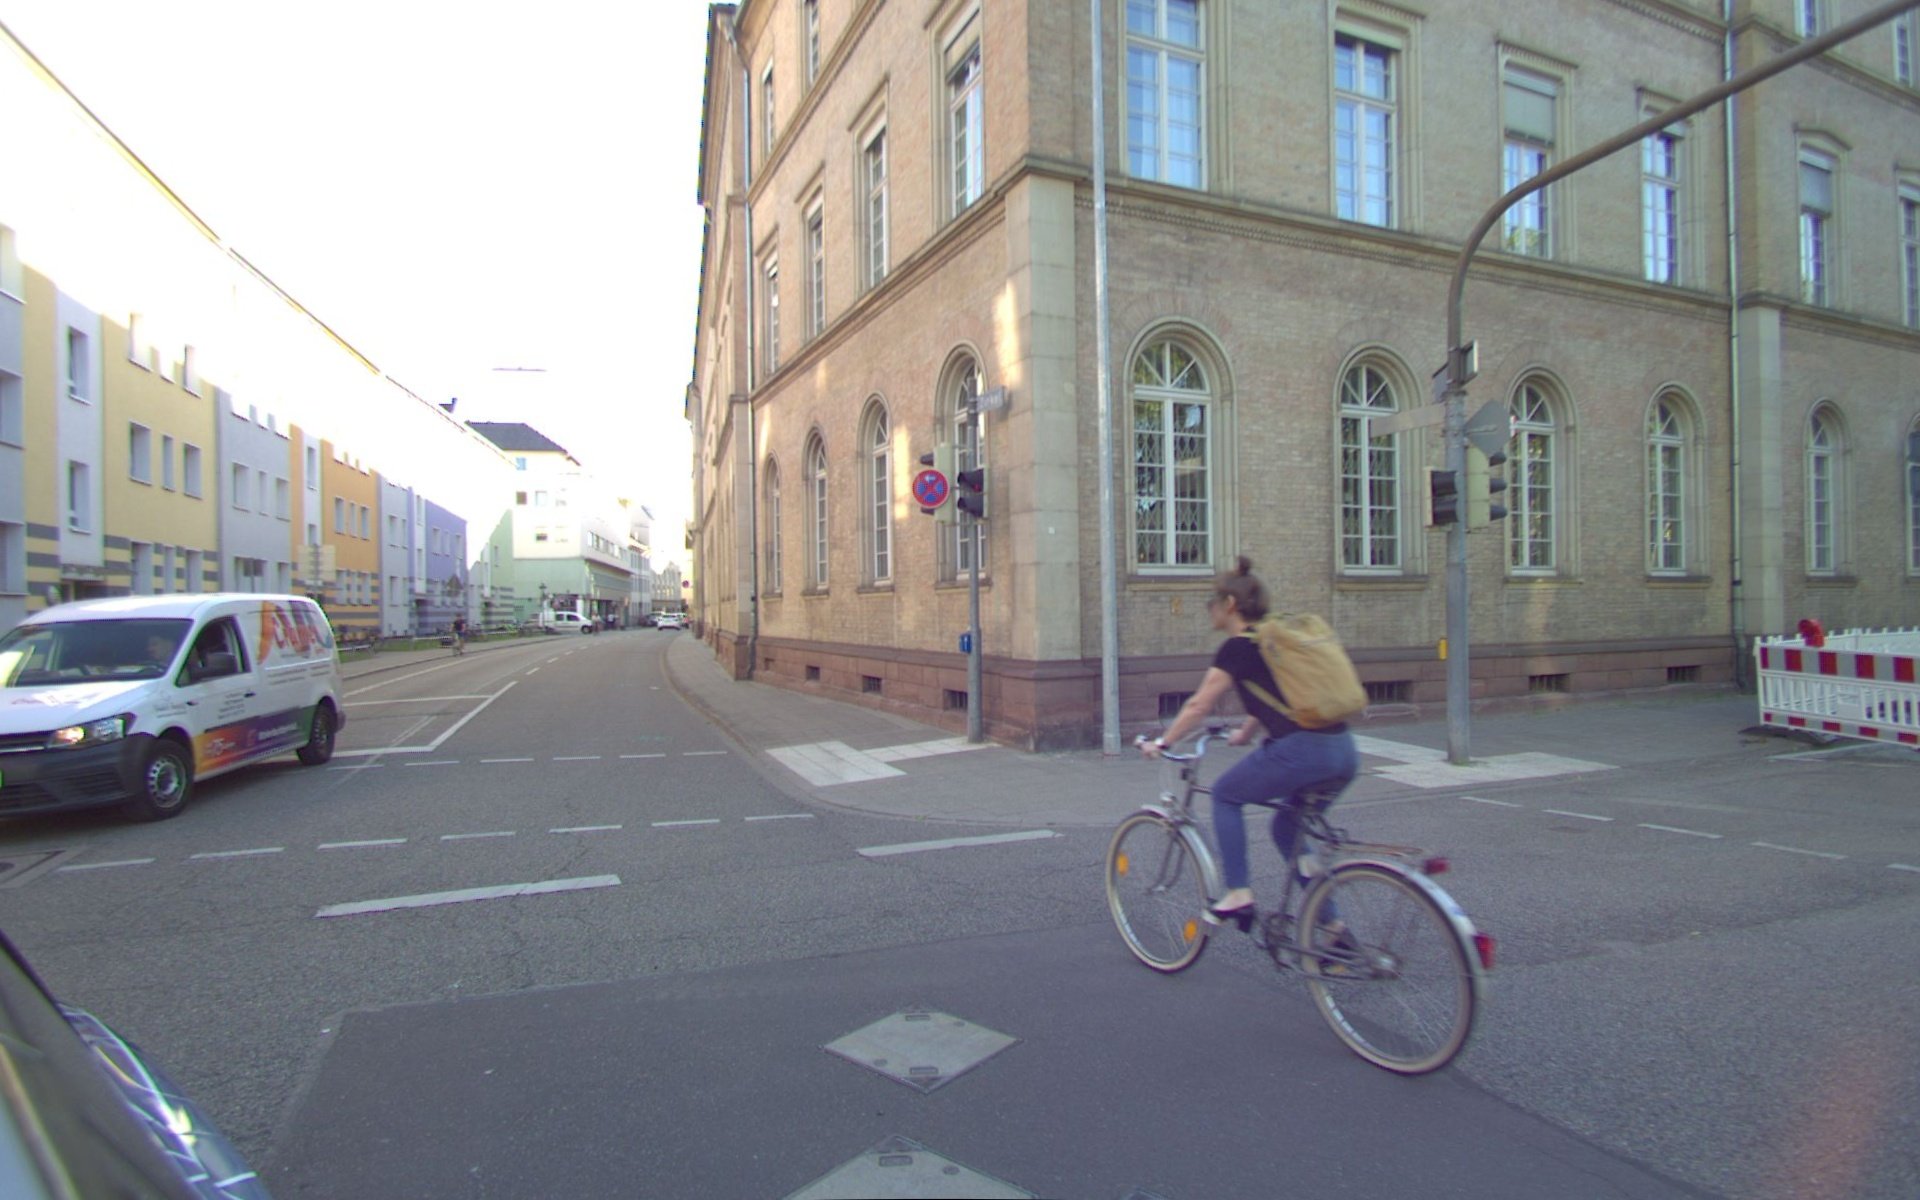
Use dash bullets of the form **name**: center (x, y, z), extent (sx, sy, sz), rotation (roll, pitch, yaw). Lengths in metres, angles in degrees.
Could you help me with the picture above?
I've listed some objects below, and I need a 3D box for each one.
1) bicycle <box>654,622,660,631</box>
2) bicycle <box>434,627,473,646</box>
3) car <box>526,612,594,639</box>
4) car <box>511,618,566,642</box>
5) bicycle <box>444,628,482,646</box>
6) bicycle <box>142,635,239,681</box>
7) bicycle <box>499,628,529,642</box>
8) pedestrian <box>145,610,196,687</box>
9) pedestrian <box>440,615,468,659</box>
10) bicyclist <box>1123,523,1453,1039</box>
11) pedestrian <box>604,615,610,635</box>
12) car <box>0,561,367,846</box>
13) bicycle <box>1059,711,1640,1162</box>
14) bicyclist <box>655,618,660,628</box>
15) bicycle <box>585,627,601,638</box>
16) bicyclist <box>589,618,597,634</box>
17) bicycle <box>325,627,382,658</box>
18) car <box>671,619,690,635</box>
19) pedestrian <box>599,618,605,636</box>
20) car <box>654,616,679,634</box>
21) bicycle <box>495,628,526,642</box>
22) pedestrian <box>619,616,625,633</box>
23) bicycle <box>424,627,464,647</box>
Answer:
- **bicycle**: center (-37.677, 3.267, 125.945), extent (0.540, 1.091, 1.968), rotation (-1, -1, -13)
- **bicycle**: center (-26.951, 1.934, 53.902), extent (1.748, 1.003, 0.585), rotation (1, -1, -11)
- **car**: center (-31.702, 2.008, 80.286), extent (4.691, 1.953, 2.004), rotation (-1, -1, -10)
- **car**: center (-34.663, 2.441, 83.351), extent (3.933, 1.704, 1.906), rotation (-3, 1, -14)
- **bicycle**: center (-26.790, 1.979, 54.607), extent (1.748, 0.946, 0.585), rotation (1, -1, -11)
- **bicycle**: center (-18.604, 1.396, 24.503), extent (1.747, 1.057, 0.585), rotation (1, -1, -23)
- **bicycle**: center (-30.017, 2.364, 68.116), extent (1.748, 0.946, 0.585), rotation (1, -1, -11)
- **pedestrian**: center (-17.573, 1.059, 22.537), extent (0.633, 1.684, 0.837), rotation (0, -1, -18)
- **pedestrian**: center (-19.201, 1.405, 38.427), extent (0.756, 1.632, 0.937), rotation (-1, -1, -15)
- **bicyclist**: center (1.128, 0.547, 3.585), extent (0.607, 1.544, 0.905), rotation (0, -1, -35)
- **pedestrian**: center (-32.236, 2.280, 92.378), extent (0.500, 1.775, 0.412), rotation (-1, -1, -14)
- **car**: center (-7.219, 0.725, 9.124), extent (1.790, 1.850, 5.355), rotation (-1, -1, -14)
- **bicycle**: center (1.183, 0.958, 3.514), extent (0.607, 0.977, 1.846), rotation (0, -1, -35)
- **bicyclist**: center (-37.643, 2.844, 125.903), extent (0.540, 1.220, 0.585), rotation (-1, -1, -13)
- **bicycle**: center (-26.316, 2.310, 72.582), extent (0.348, 0.729, 1.104), rotation (-2, -1, 35)
- **bicyclist**: center (-26.326, 1.867, 72.594), extent (0.348, 1.116, 0.363), rotation (-2, -1, 36)
- **bicycle**: center (-22.888, 1.597, 38.231), extent (1.747, 1.133, 0.585), rotation (1, -1, -20)
- **car**: center (-28.255, 2.733, 102.398), extent (1.663, 1.594, 4.285), rotation (1, -1, -13)
- **pedestrian**: center (-32.968, 2.487, 93.186), extent (0.366, 1.567, 0.404), rotation (-1, -1, -9)
- **car**: center (-25.140, 2.116, 86.826), extent (1.861, 1.487, 4.557), rotation (1, -1, -14)
- **bicycle**: center (-29.584, 2.309, 66.635), extent (1.748, 0.946, 0.585), rotation (1, -1, -11)
- **pedestrian**: center (-31.753, 2.334, 95.134), extent (0.500, 1.572, 0.412), rotation (-1, -1, -14)
- **bicycle**: center (-26.765, 1.925, 52.542), extent (1.748, 1.003, 0.585), rotation (1, -1, -11)
